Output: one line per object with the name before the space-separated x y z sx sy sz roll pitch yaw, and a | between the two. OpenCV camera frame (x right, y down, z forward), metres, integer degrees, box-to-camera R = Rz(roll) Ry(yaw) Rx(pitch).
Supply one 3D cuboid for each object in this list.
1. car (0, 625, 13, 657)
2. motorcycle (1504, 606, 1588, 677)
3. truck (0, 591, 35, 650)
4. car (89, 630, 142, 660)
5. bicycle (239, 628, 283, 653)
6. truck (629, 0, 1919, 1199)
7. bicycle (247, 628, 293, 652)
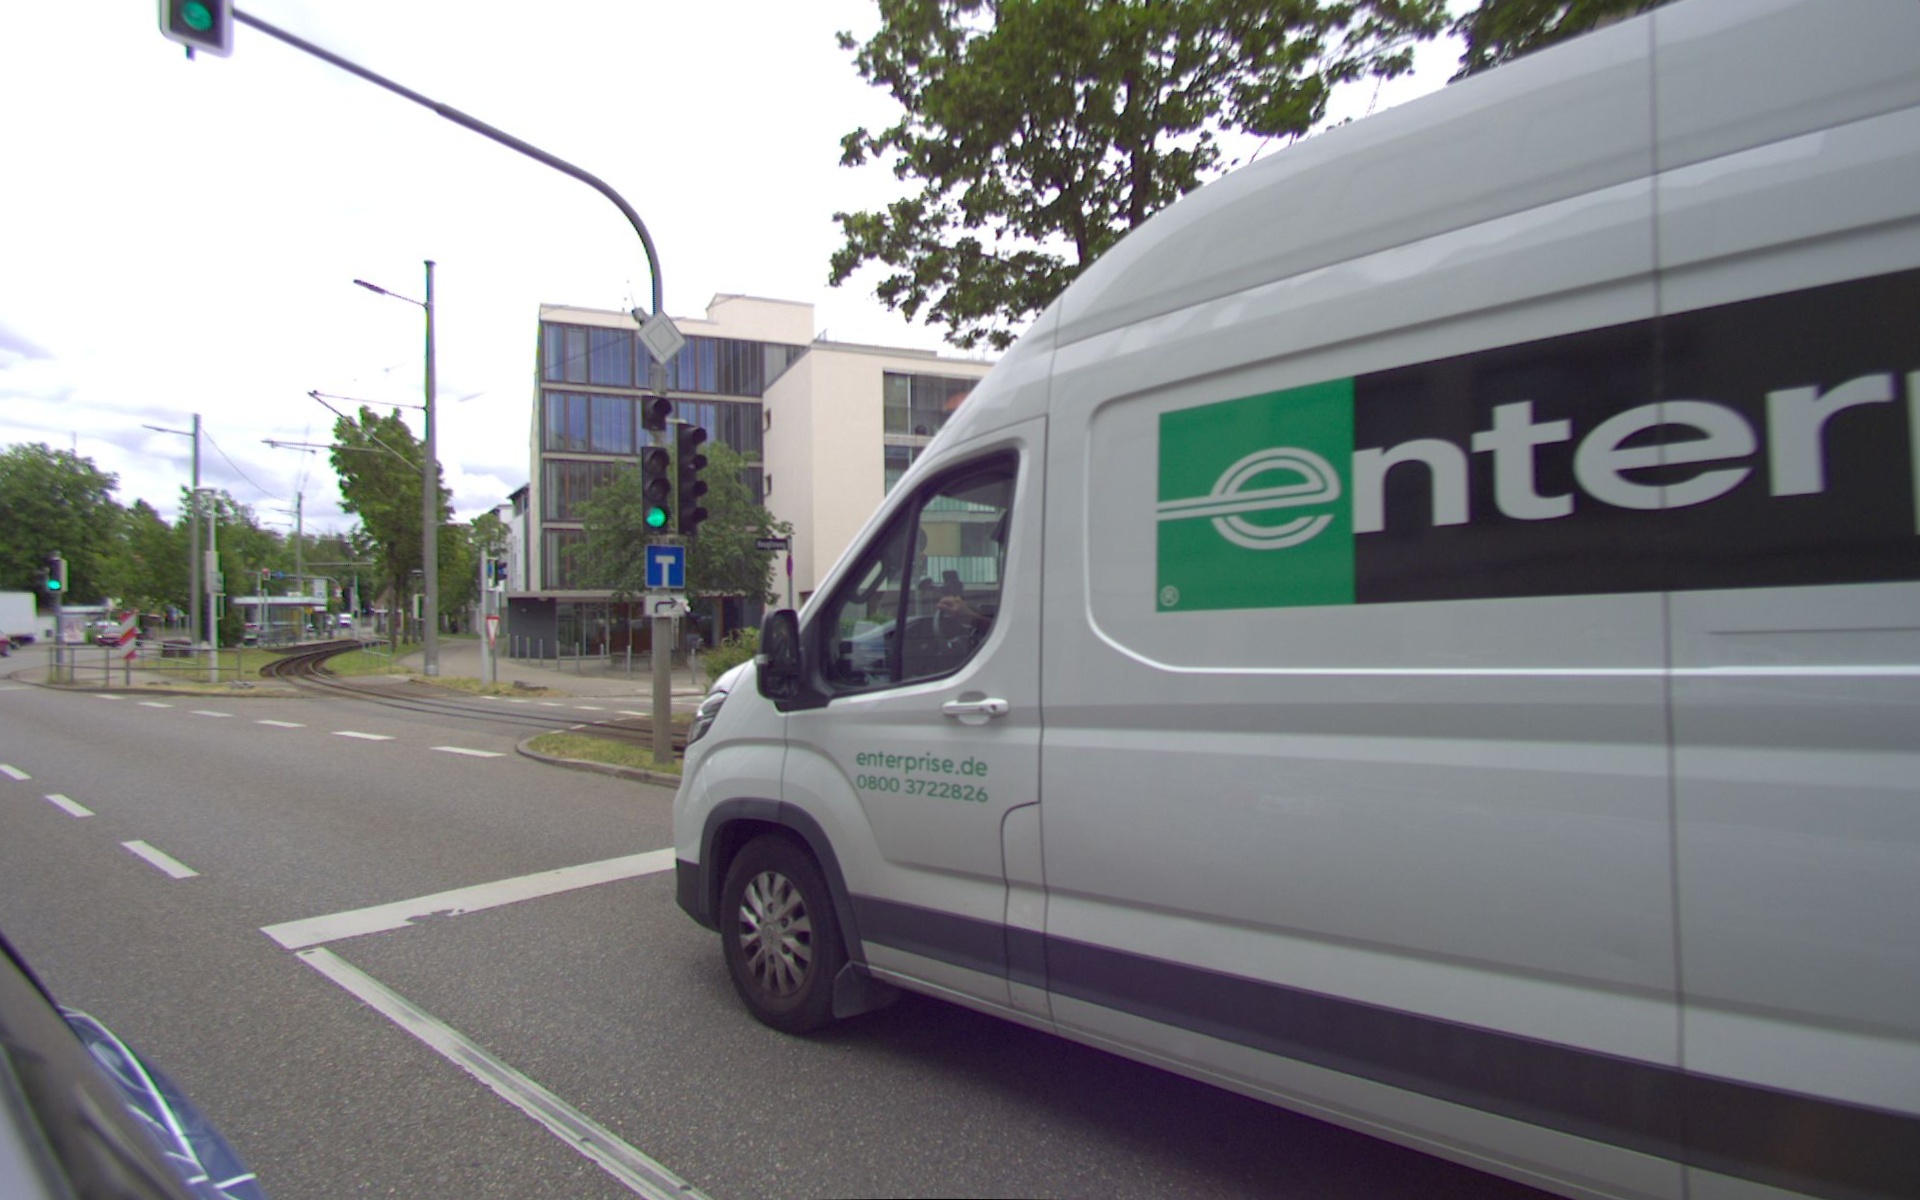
car | -46.745 1.925 47.658 1.819 1.546 4.013 1 -3 -23
motorcycle | 10.488 0.722 18.083 1.854 1.208 0.569 0 -1 -36
truck | -57.906 1.231 59.722 2.499 3.452 7.801 -1 0 -23
car | -56.531 2.954 67.811 1.819 1.875 4.271 0 -1 -27
bicycle | -32.987 1.900 47.749 1.682 1.097 0.409 -2 0 -36
truck | 1.458 0.067 3.049 5.796 2.635 2.142 -2 -1 43
bicycle | -33.311 1.918 48.877 1.724 1.054 0.409 -2 0 -22
